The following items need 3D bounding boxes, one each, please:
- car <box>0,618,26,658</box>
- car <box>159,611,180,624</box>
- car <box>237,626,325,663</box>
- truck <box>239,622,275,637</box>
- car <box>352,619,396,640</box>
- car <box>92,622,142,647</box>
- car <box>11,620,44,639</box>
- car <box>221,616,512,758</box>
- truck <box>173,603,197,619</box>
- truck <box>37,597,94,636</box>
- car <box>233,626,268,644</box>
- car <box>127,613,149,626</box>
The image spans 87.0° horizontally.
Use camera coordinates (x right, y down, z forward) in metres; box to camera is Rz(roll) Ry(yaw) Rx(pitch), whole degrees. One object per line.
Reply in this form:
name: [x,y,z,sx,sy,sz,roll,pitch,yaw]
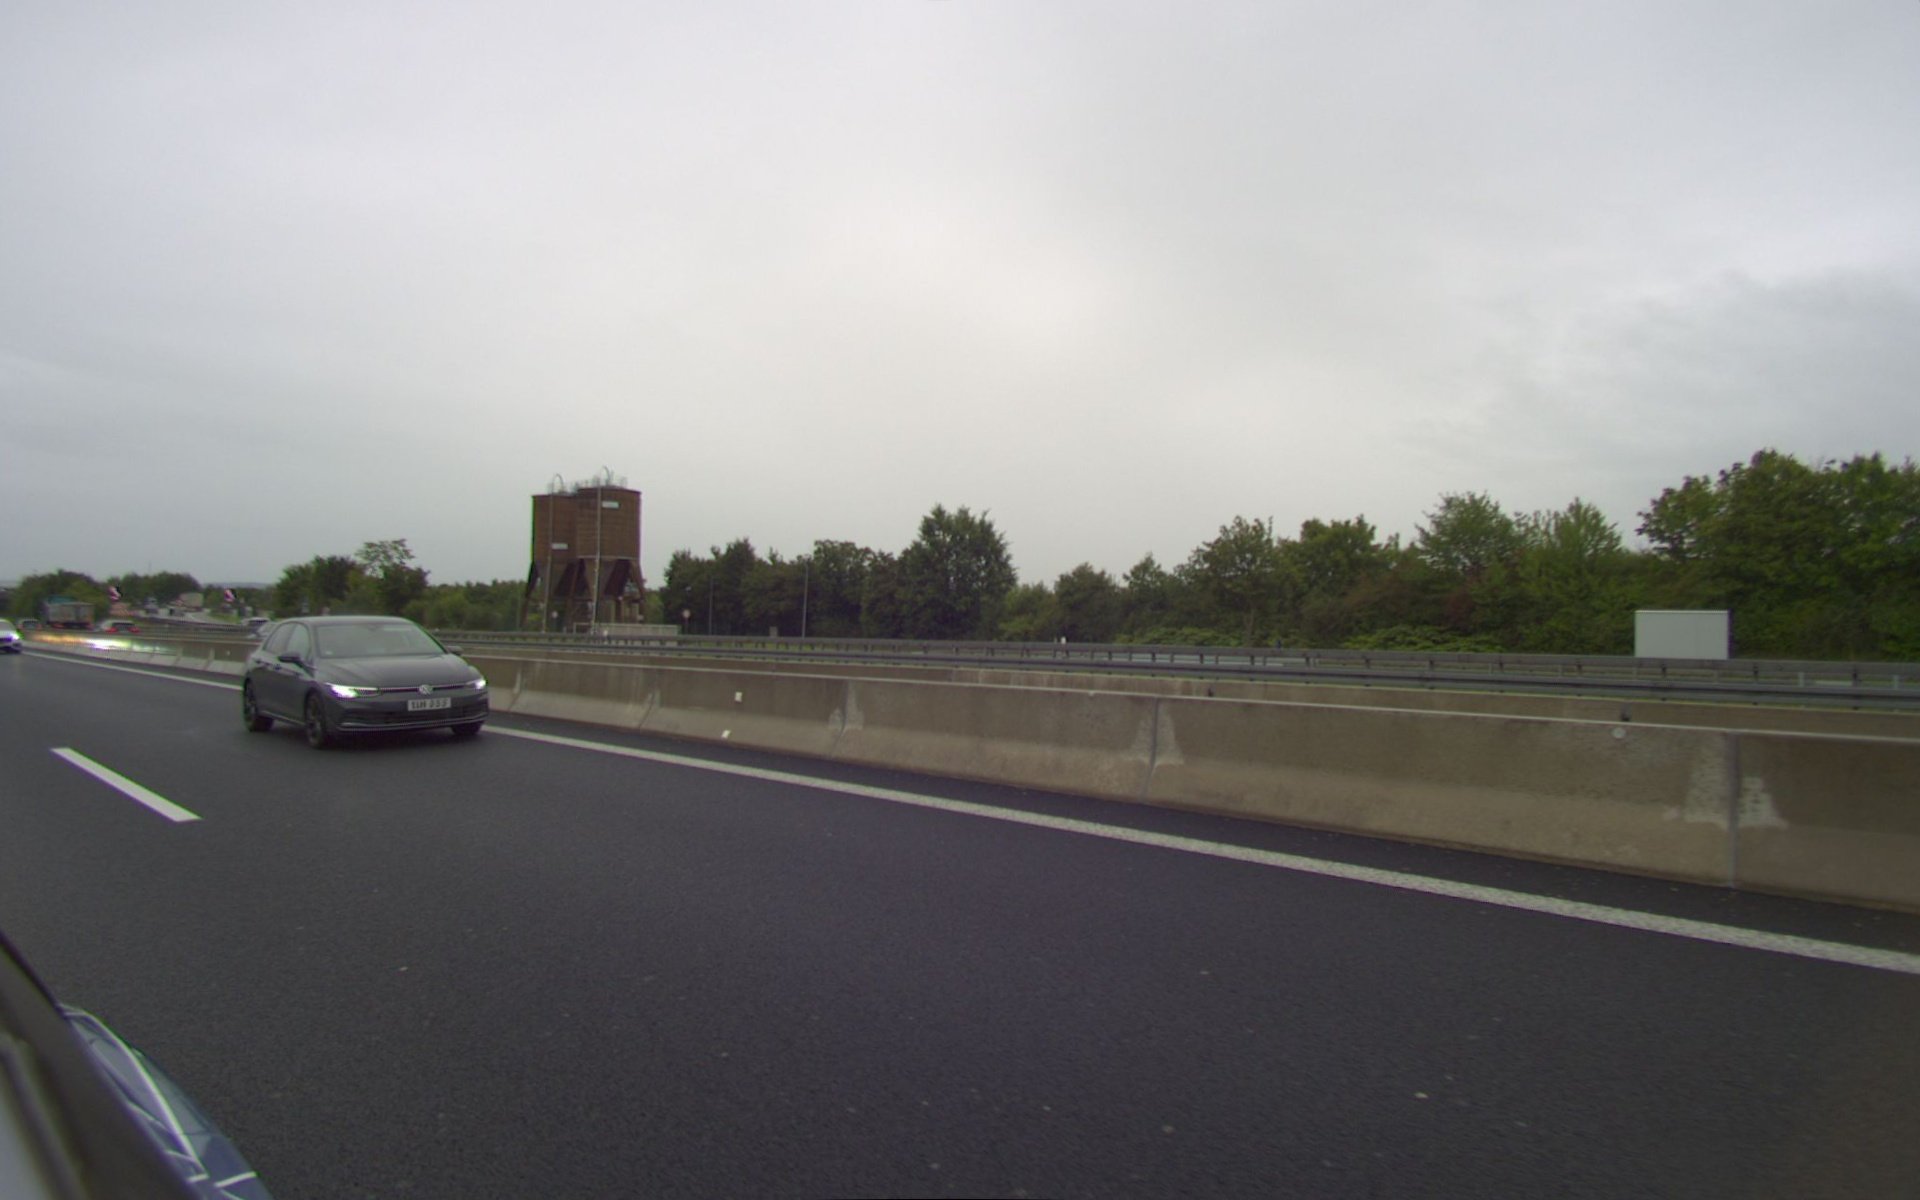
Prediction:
car: [-40.671,1.596,42.374,4.817,1.603,1.972,-1,-1,43]
car: [-135.480,2.998,173.439,3.994,2.029,1.975,-1,0,38]
car: [-27.095,1.740,40.331,4.443,1.402,1.836,-1,-2,41]
truck: [-80.915,3.354,116.473,5.401,1.657,1.974,-1,0,40]
car: [-51.099,2.561,88.244,4.503,1.775,1.972,-1,-2,41]
car: [-52.961,2.178,63.586,3.998,1.519,1.779,-1,-2,41]
car: [-83.220,2.637,90.301,3.998,1.608,1.695,-1,-1,41]
car: [-7.435,0.932,12.497,4.365,1.436,1.811,-1,-1,41]
truck: [-158.371,2.197,206.776,3.207,3.241,7.610,0,-1,-44]
truck: [-90.044,1.653,101.777,11.906,3.739,2.937,-1,-1,42]
car: [-71.644,3.520,102.142,4.459,1.822,1.883,-1,-1,41]
car: [-137.823,3.293,169.668,4.547,2.029,2.049,-1,-3,40]
